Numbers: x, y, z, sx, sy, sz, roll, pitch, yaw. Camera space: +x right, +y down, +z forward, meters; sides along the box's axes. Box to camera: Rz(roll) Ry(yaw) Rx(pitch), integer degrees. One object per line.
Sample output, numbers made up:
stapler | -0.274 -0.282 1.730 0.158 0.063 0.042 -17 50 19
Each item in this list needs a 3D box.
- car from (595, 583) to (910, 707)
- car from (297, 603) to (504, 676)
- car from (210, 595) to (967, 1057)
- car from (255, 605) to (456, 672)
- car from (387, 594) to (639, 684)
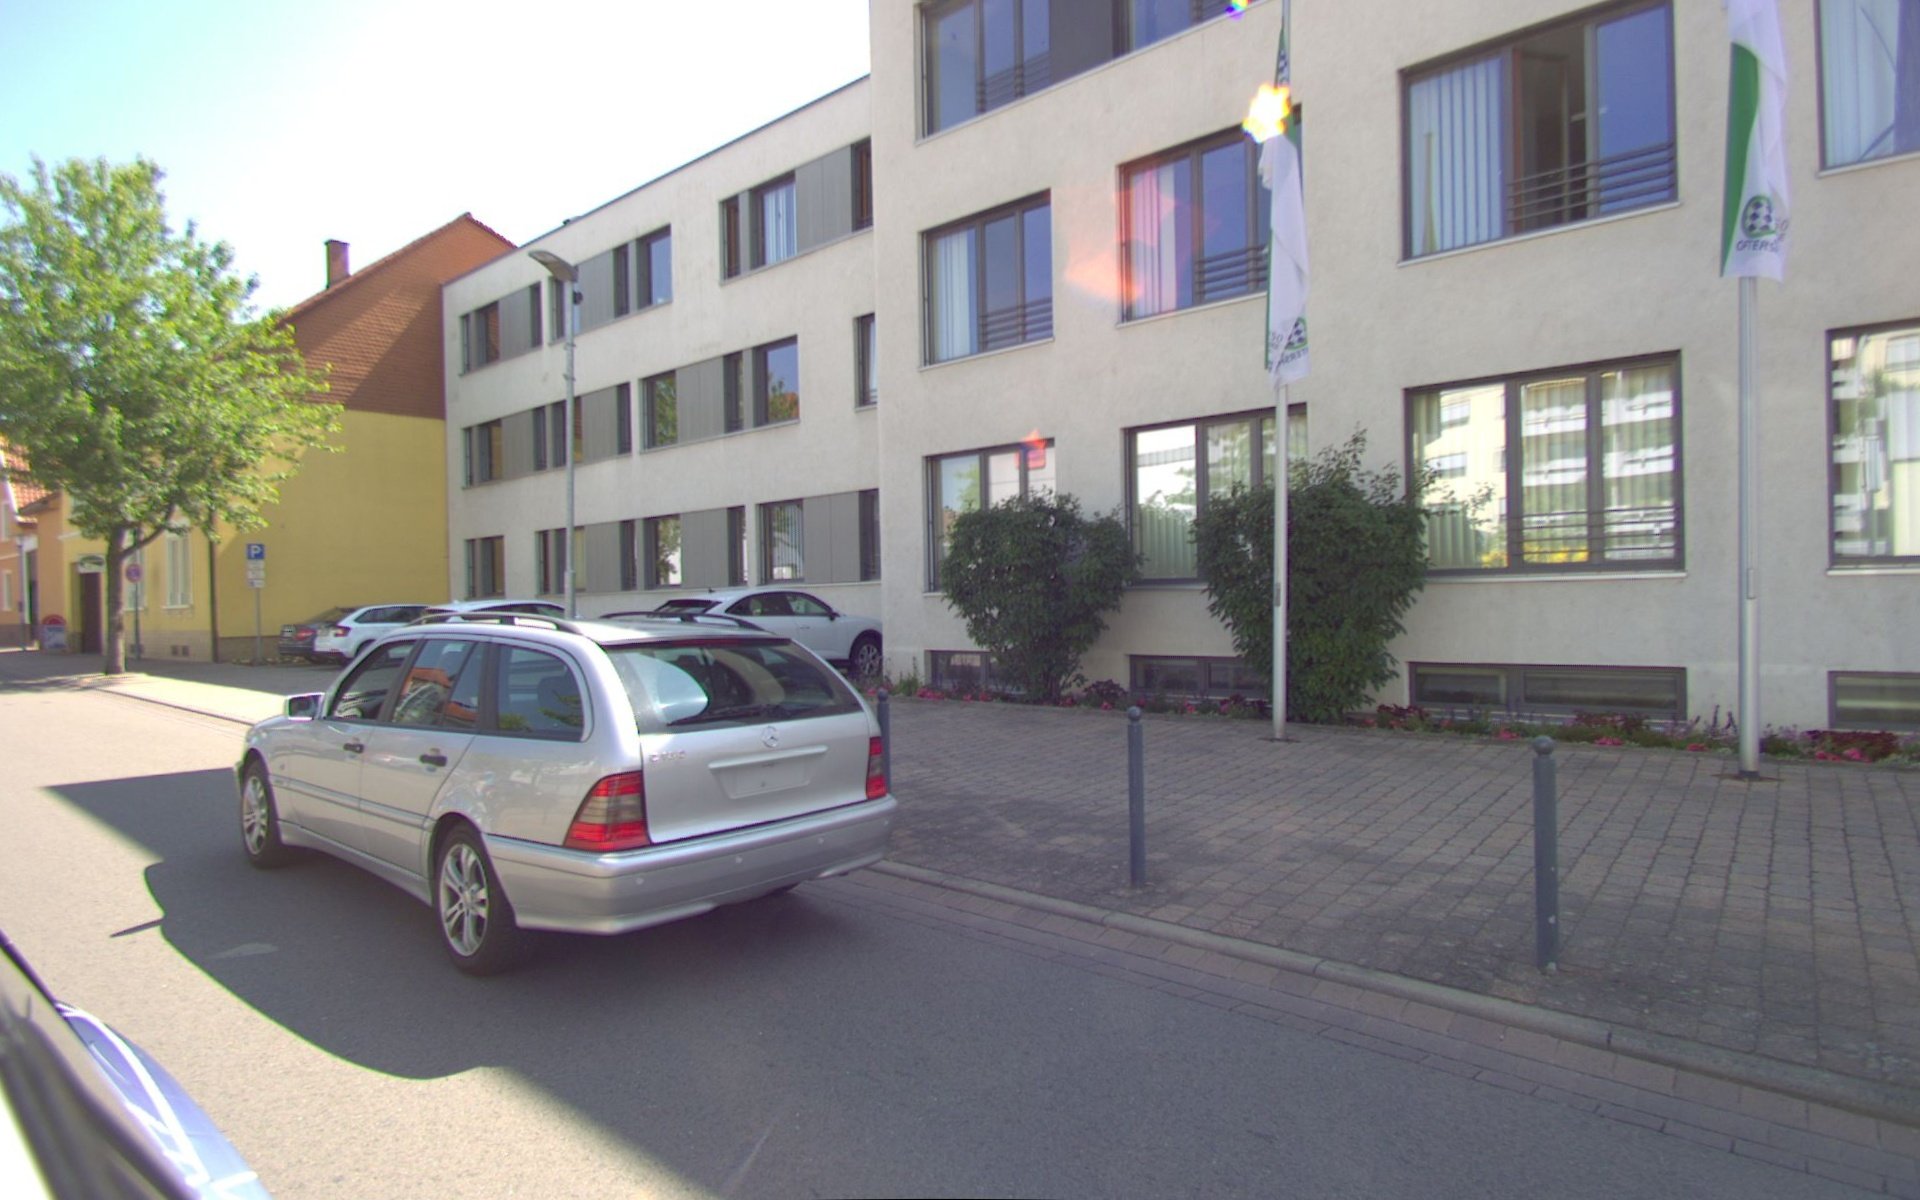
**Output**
car | -3.083 0.579 15.823 2.145 1.565 4.463 -1 1 39
car | -13.367 0.904 24.369 1.806 1.462 3.948 -2 0 39
car | -2.251 0.724 5.401 4.433 1.475 1.861 0 0 40
car | -15.444 0.945 26.028 1.968 1.442 3.952 -2 1 36
car | -9.295 0.731 21.348 1.934 1.565 4.459 0 2 40
